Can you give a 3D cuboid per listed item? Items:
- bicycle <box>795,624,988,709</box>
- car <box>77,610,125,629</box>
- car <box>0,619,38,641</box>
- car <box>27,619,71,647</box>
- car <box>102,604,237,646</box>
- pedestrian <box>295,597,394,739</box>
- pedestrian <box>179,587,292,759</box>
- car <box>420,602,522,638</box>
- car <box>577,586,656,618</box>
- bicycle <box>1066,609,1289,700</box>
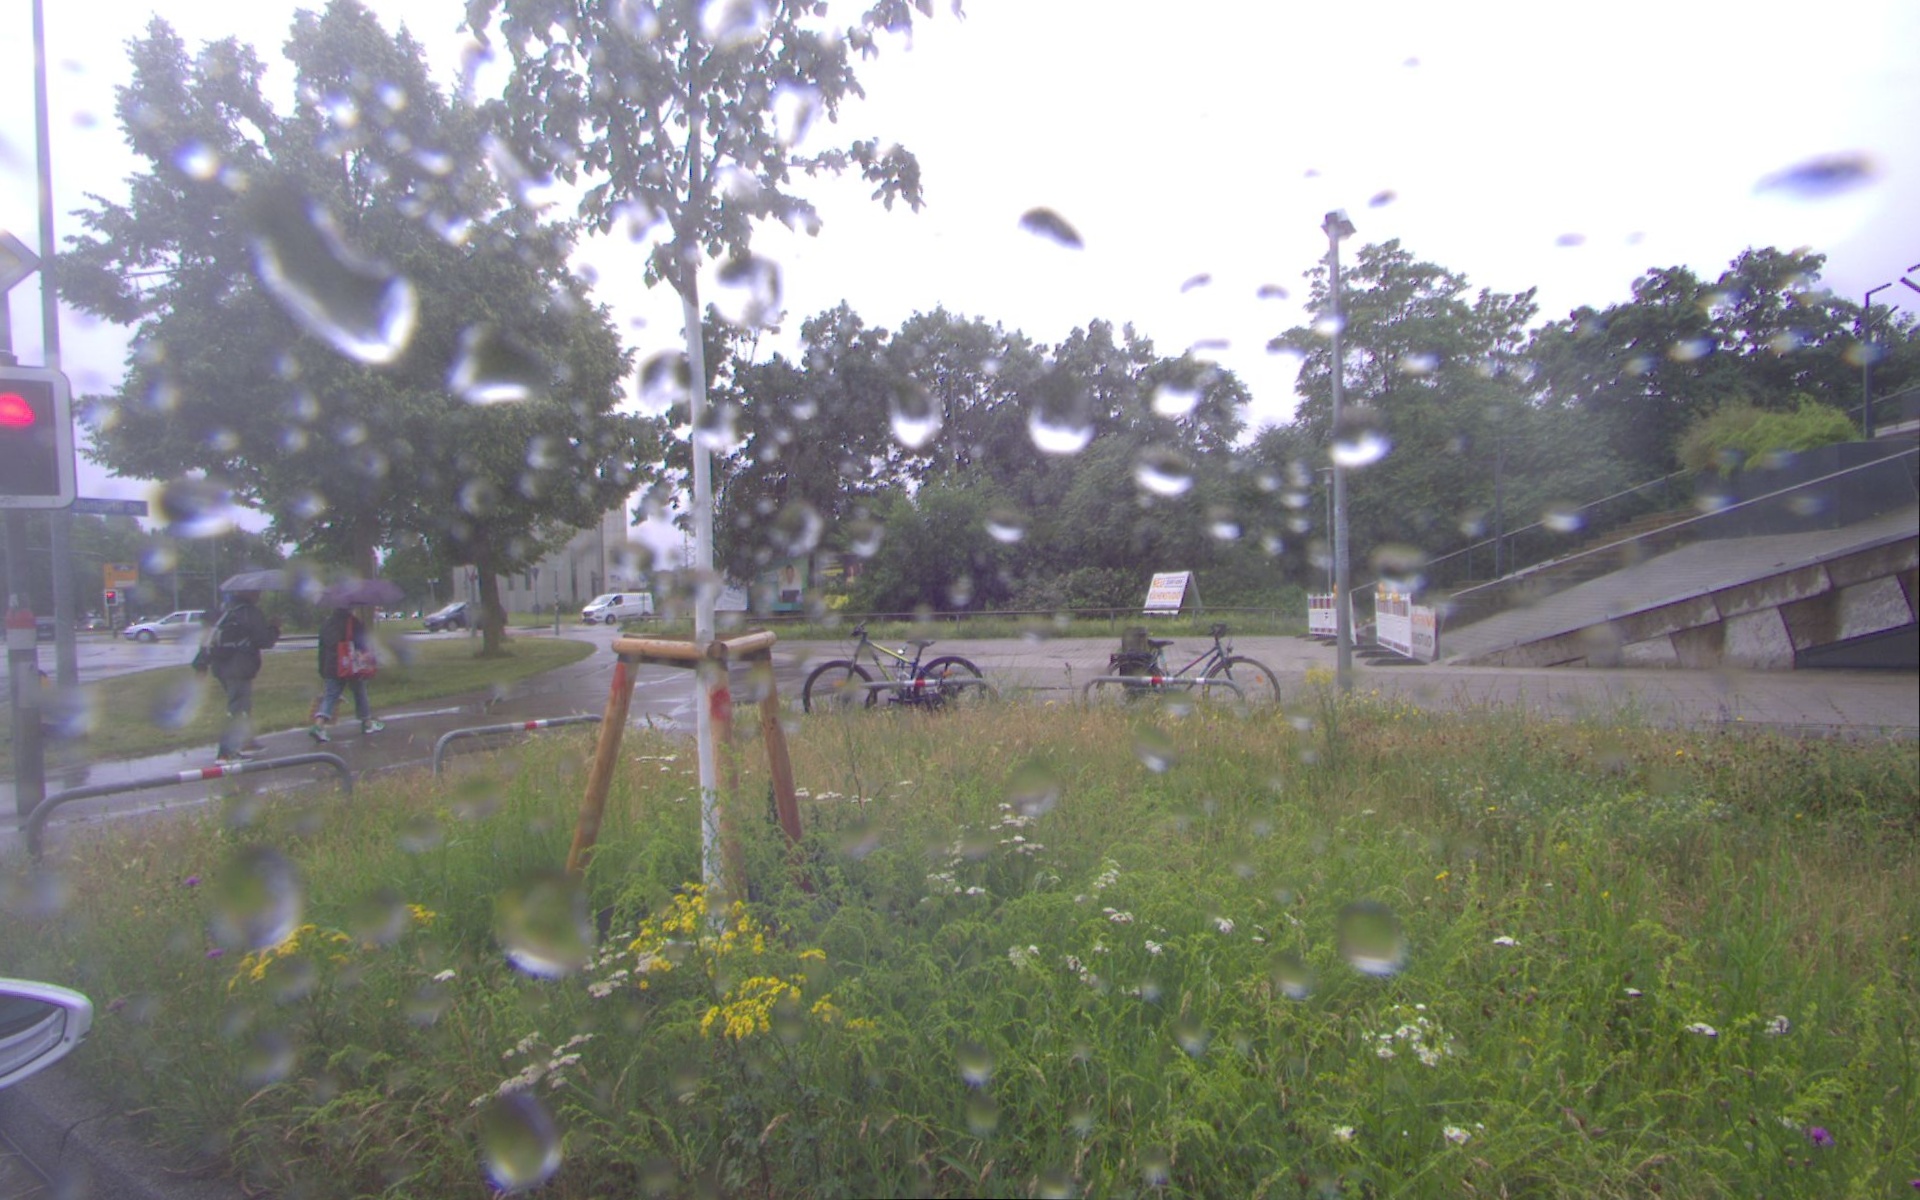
[{"bbox_3d":[-0.650,0.638,9.683,1.823,0.797,0.380,0,-2,-2],"label":"bicycle"},{"bbox_3d":[-81.159,1.823,94.676,1.770,1.684,4.401,-1,0,-16],"label":"car"},{"bbox_3d":[-76.537,2.407,80.483,1.770,1.683,4.404,0,-2,-16],"label":"car"},{"bbox_3d":[-49.943,1.783,54.881,3.947,1.473,1.608,-1,0,45],"label":"car"},{"bbox_3d":[-36.304,1.188,46.190,4.714,1.874,1.988,1,-2,-34],"label":"car"},{"bbox_3d":[-6.713,0.726,10.941,0.564,1.480,0.679,-1,1,28],"label":"pedestrian"},{"bbox_3d":[-6.815,0.666,9.422,0.730,1.542,0.620,0,-1,31],"label":"pedestrian"},{"bbox_3d":[-27.067,1.165,55.573,1.977,1.874,4.741,-2,-3,40],"label":"car"},{"bbox_3d":[-22.212,0.172,64.923,1.970,1.874,4.757,-1,-2,29],"label":"car"},{"bbox_3d":[1.998,0.501,9.281,1.972,0.797,0.454,-1,-2,16],"label":"bicycle"}]
